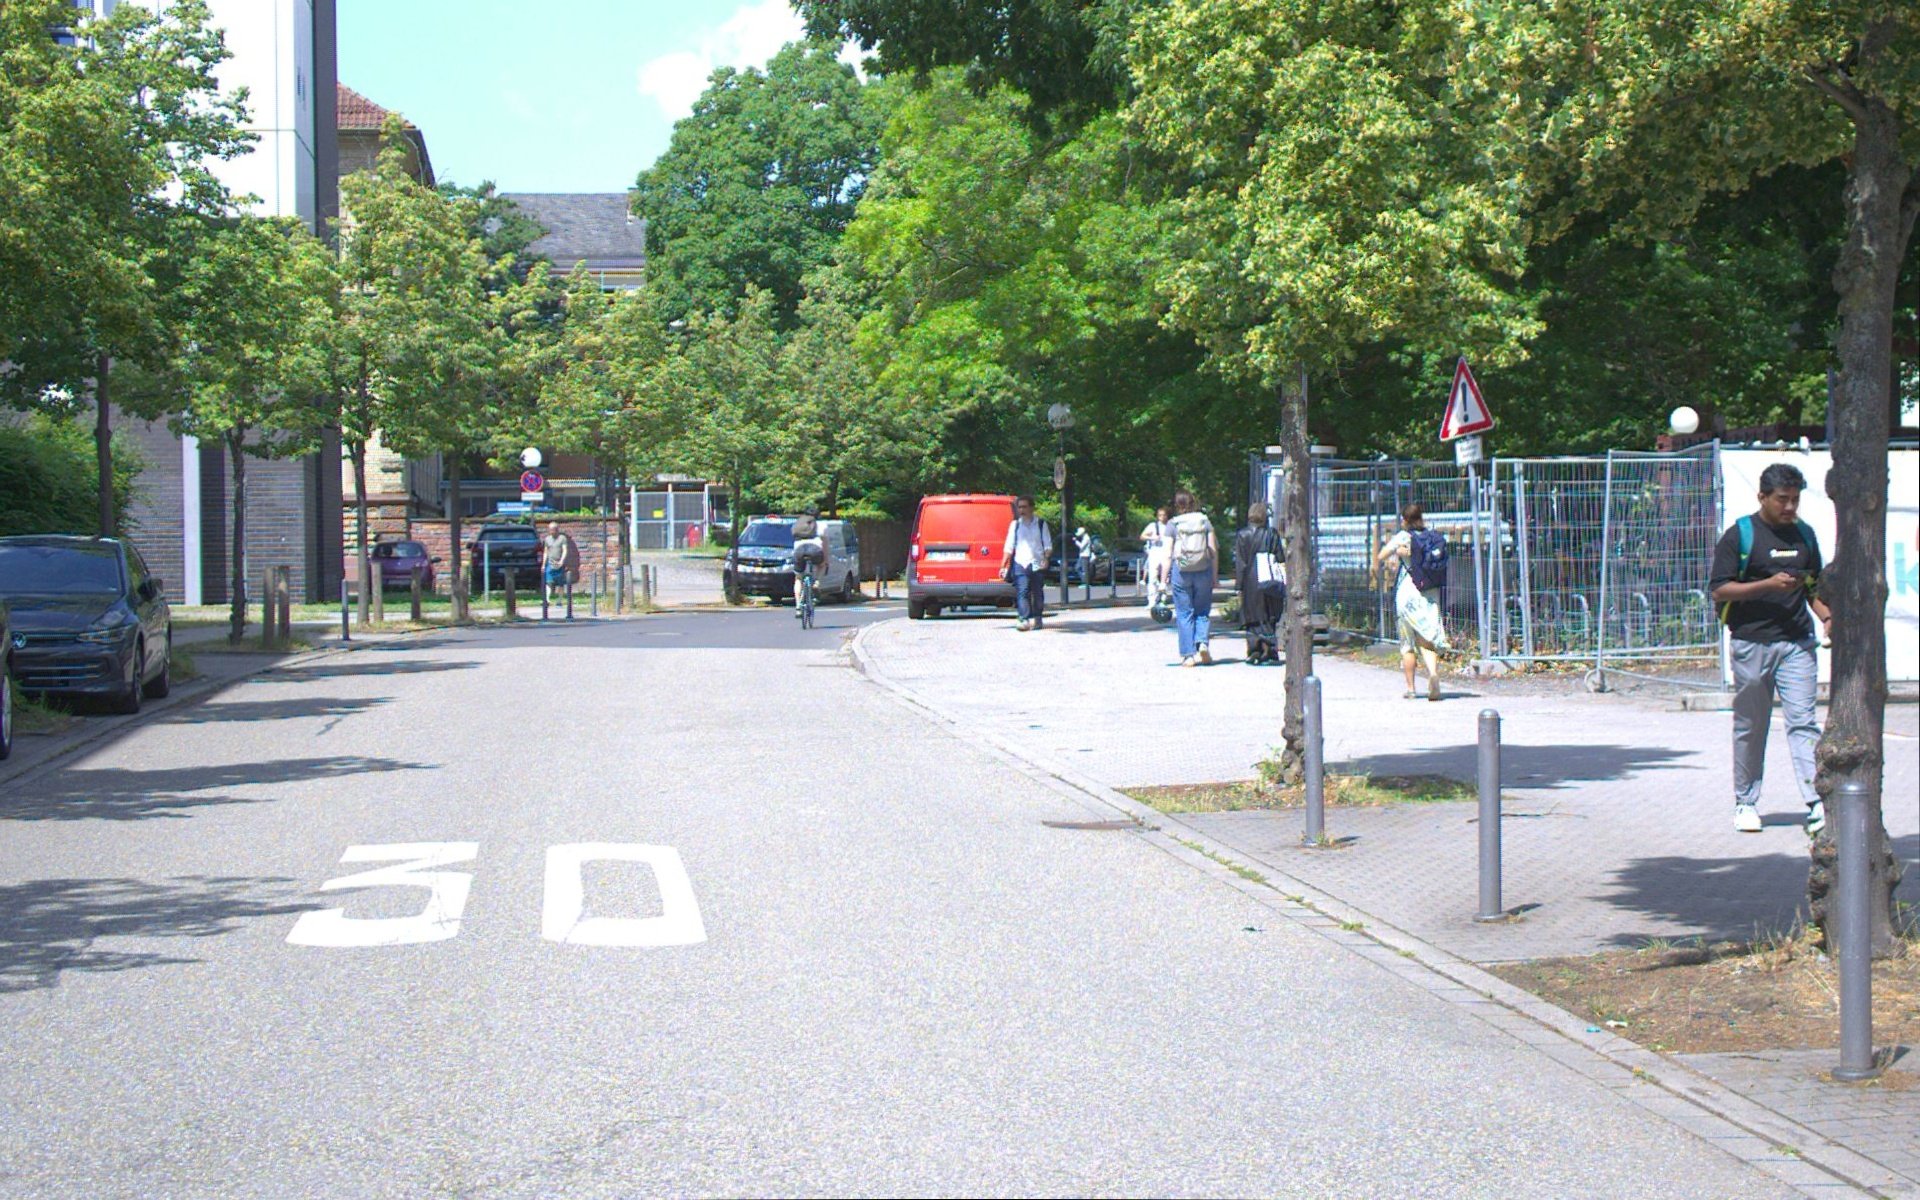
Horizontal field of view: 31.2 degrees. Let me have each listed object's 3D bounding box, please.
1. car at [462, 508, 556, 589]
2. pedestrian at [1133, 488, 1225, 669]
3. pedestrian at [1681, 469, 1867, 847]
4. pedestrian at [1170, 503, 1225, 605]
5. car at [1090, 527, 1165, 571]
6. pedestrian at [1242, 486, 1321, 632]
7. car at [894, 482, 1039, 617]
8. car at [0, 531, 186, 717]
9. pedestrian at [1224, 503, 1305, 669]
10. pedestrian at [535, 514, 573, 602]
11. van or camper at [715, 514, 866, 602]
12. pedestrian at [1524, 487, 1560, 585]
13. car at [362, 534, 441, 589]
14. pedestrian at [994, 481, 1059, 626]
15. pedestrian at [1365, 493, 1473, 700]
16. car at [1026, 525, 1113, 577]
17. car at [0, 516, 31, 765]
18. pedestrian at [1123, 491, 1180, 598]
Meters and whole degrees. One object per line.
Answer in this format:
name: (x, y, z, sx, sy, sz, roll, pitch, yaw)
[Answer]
car: (-11.208, -1.282, 85.213, 2.174, 1.919, 5.187, -1, 1, -9)
pedestrian: (2.163, -0.217, 34.026, 0.850, 1.758, 0.716, -1, 1, 2)
pedestrian: (3.742, 0.254, 15.842, 0.641, 1.691, 0.792, -1, 1, -1)
pedestrian: (4.006, -0.778, 57.998, 0.743, 1.704, 0.564, -1, 1, -42)
car: (5.399, -1.647, 110.521, 1.617, 1.383, 3.998, 0, 1, 14)
pedestrian: (3.624, -0.460, 38.717, 0.713, 1.626, 0.711, 0, 1, 19)
car: (0.145, -0.764, 51.173, 1.848, 1.885, 4.890, -1, 1, 3)
car: (-7.662, 0.147, 29.255, 1.777, 1.456, 4.260, 0, 1, -8)
pedestrian: (2.992, -0.142, 33.834, 0.668, 1.594, 0.985, -1, 1, -1)
pedestrian: (-8.202, -0.851, 69.535, 0.584, 1.758, 0.911, -1, 1, 3)
van or camper: (-3.776, -0.977, 77.720, 1.955, 1.916, 5.417, 1, 1, 14)
pedestrian: (11.005, -1.216, 65.018, 0.543, 1.831, 0.762, -1, 1, 0)
car: (-13.759, -0.959, 84.843, 1.817, 1.319, 3.769, -1, 1, -8)
pedestrian: (0.828, -0.578, 42.547, 0.695, 1.775, 0.787, -1, 1, 7)
pedestrian: (3.768, -0.036, 28.281, 0.649, 1.660, 0.905, -1, 1, -7)
car: (3.310, -1.486, 103.430, 1.761, 1.516, 4.109, 0, 1, 14)
car: (-6.787, 0.276, 20.923, 1.696, 1.558, 4.069, -1, 1, -8)
pedestrian: (3.286, -0.951, 58.861, 0.721, 1.815, 0.629, -1, 1, -42)
